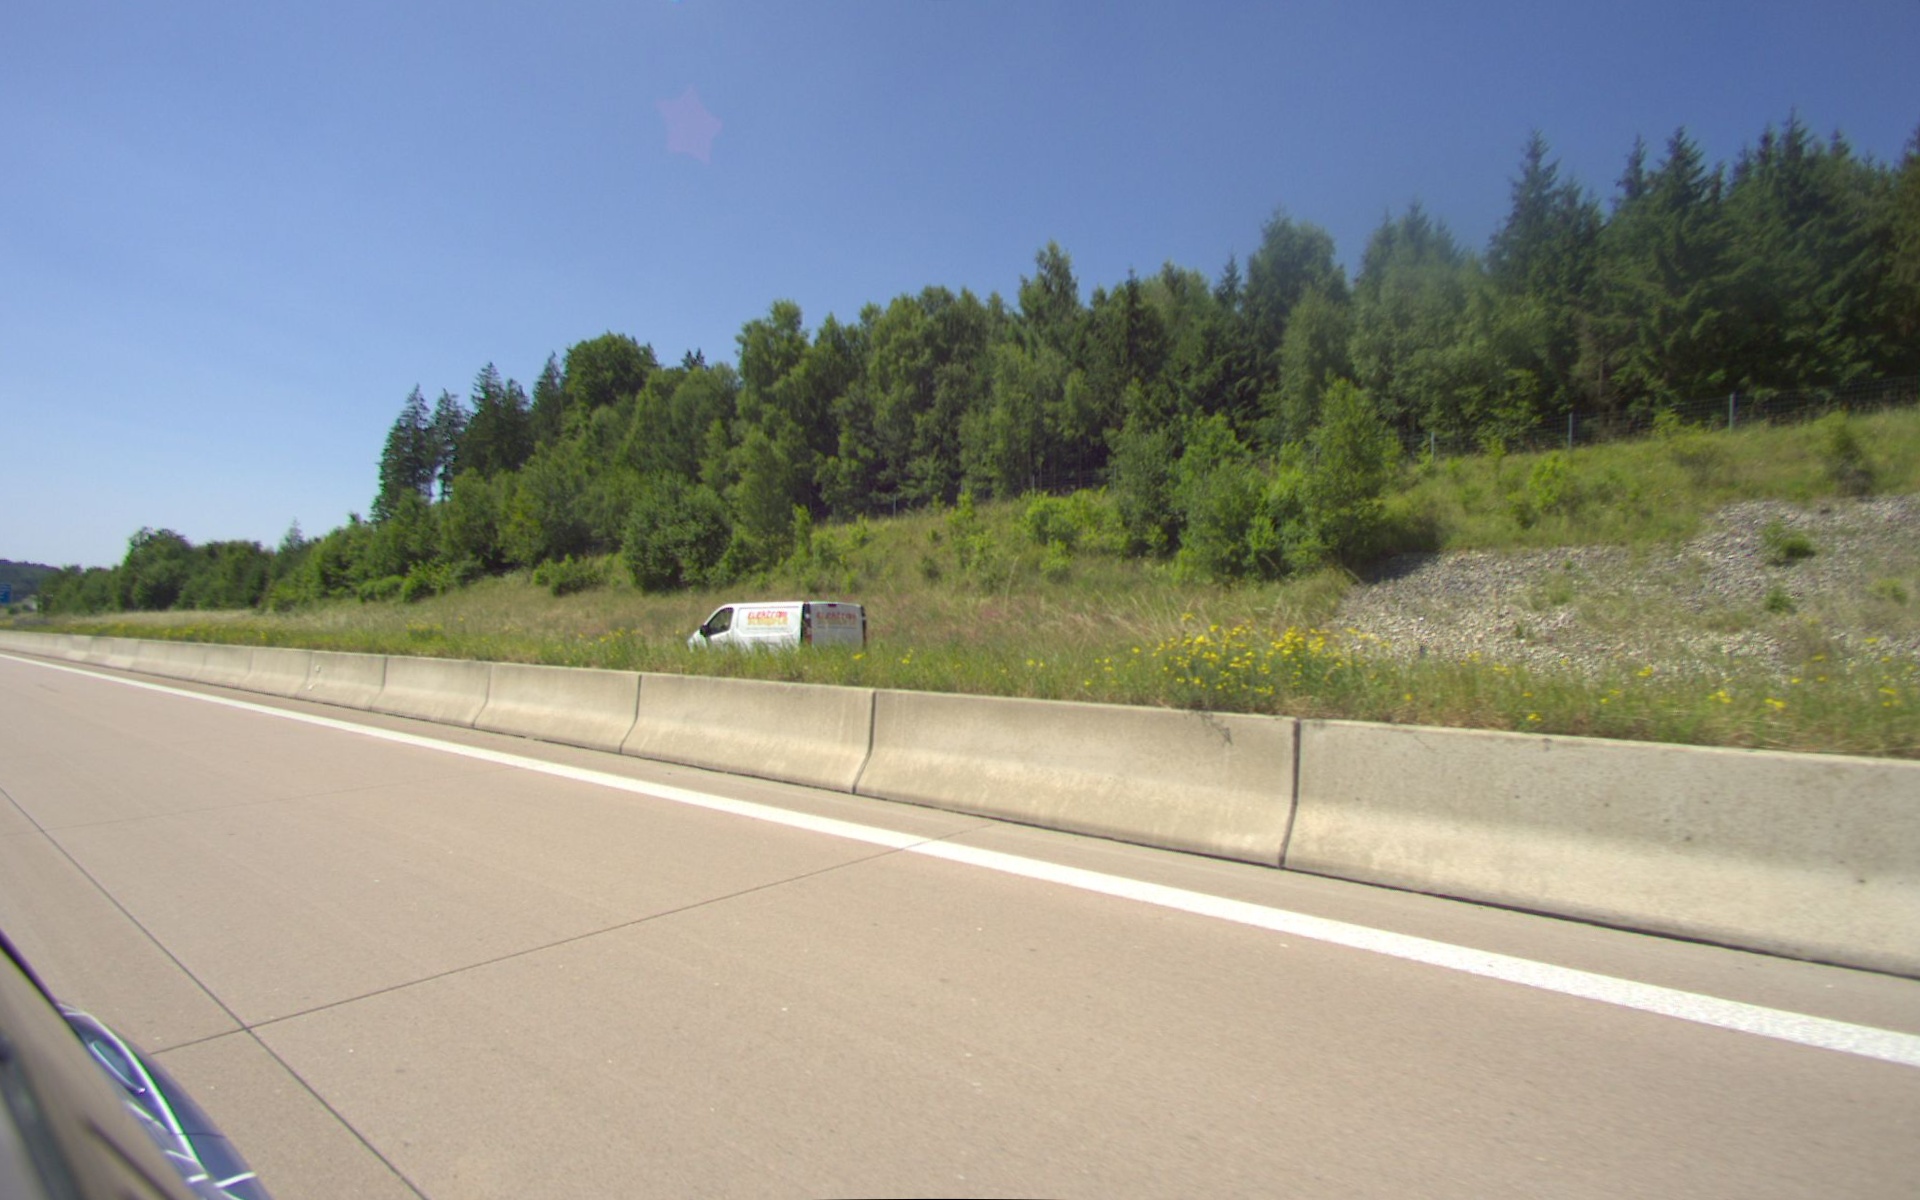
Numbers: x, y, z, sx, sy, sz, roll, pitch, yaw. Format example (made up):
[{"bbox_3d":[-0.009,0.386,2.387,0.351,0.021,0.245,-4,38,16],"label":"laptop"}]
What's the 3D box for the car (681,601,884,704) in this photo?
[{"bbox_3d":[-4.049,1.118,22.605,4.659,2.080,1.872,-2,-1,39],"label":"car"}]
